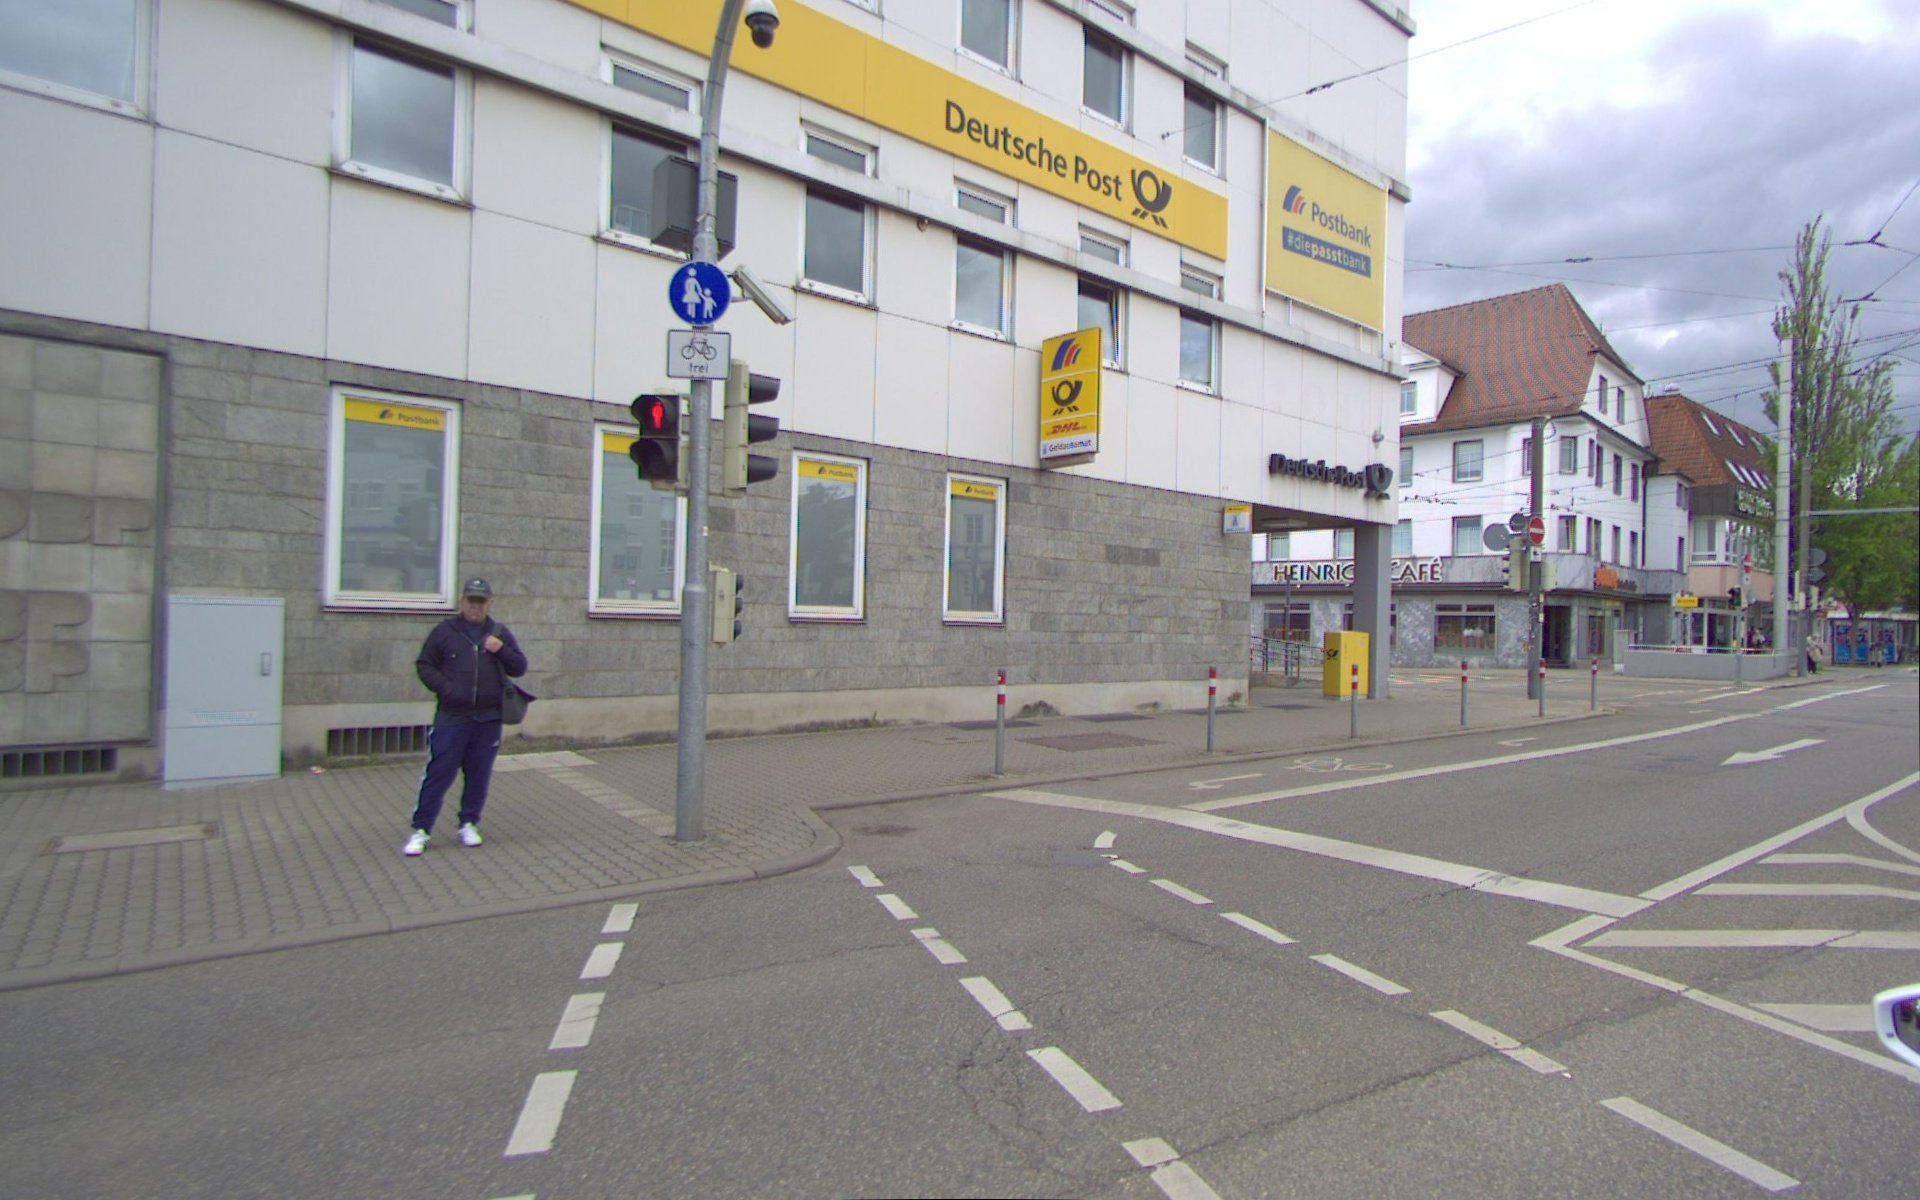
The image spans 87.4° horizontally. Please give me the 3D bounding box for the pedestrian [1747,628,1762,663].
[{"bbox_3d":[42.500,2.435,53.727,0.634,1.860,0.577,0,-1,39],"label":"pedestrian"}]

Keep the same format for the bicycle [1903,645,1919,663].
[{"bbox_3d":[56.766,3.214,59.072,1.917,1.043,0.527,2,0,44],"label":"bicycle"}]

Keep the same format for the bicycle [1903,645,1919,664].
[{"bbox_3d":[56.382,3.199,58.604,1.917,1.043,0.527,2,0,44],"label":"bicycle"}]

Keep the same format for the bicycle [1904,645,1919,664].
[{"bbox_3d":[55.950,3.183,58.090,1.917,1.043,0.527,2,0,44],"label":"bicycle"}]

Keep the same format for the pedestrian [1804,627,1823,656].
[{"bbox_3d":[47.982,2.334,56.481,0.692,1.627,0.578,1,-1,32],"label":"pedestrian"}]

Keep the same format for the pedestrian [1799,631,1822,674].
[{"bbox_3d":[32.588,1.995,38.490,0.626,1.627,0.701,0,-1,40],"label":"pedestrian"}]

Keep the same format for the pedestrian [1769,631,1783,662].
[{"bbox_3d":[43.827,2.482,53.964,0.571,1.627,0.641,0,-1,40],"label":"pedestrian"}]

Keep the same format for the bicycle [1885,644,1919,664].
[{"bbox_3d":[54.943,3.149,58.221,1.917,1.043,0.527,2,0,44],"label":"bicycle"}]

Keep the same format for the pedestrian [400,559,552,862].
[{"bbox_3d":[-3.014,0.640,6.239,0.774,1.741,0.644,1,1,-31],"label":"pedestrian"}]
